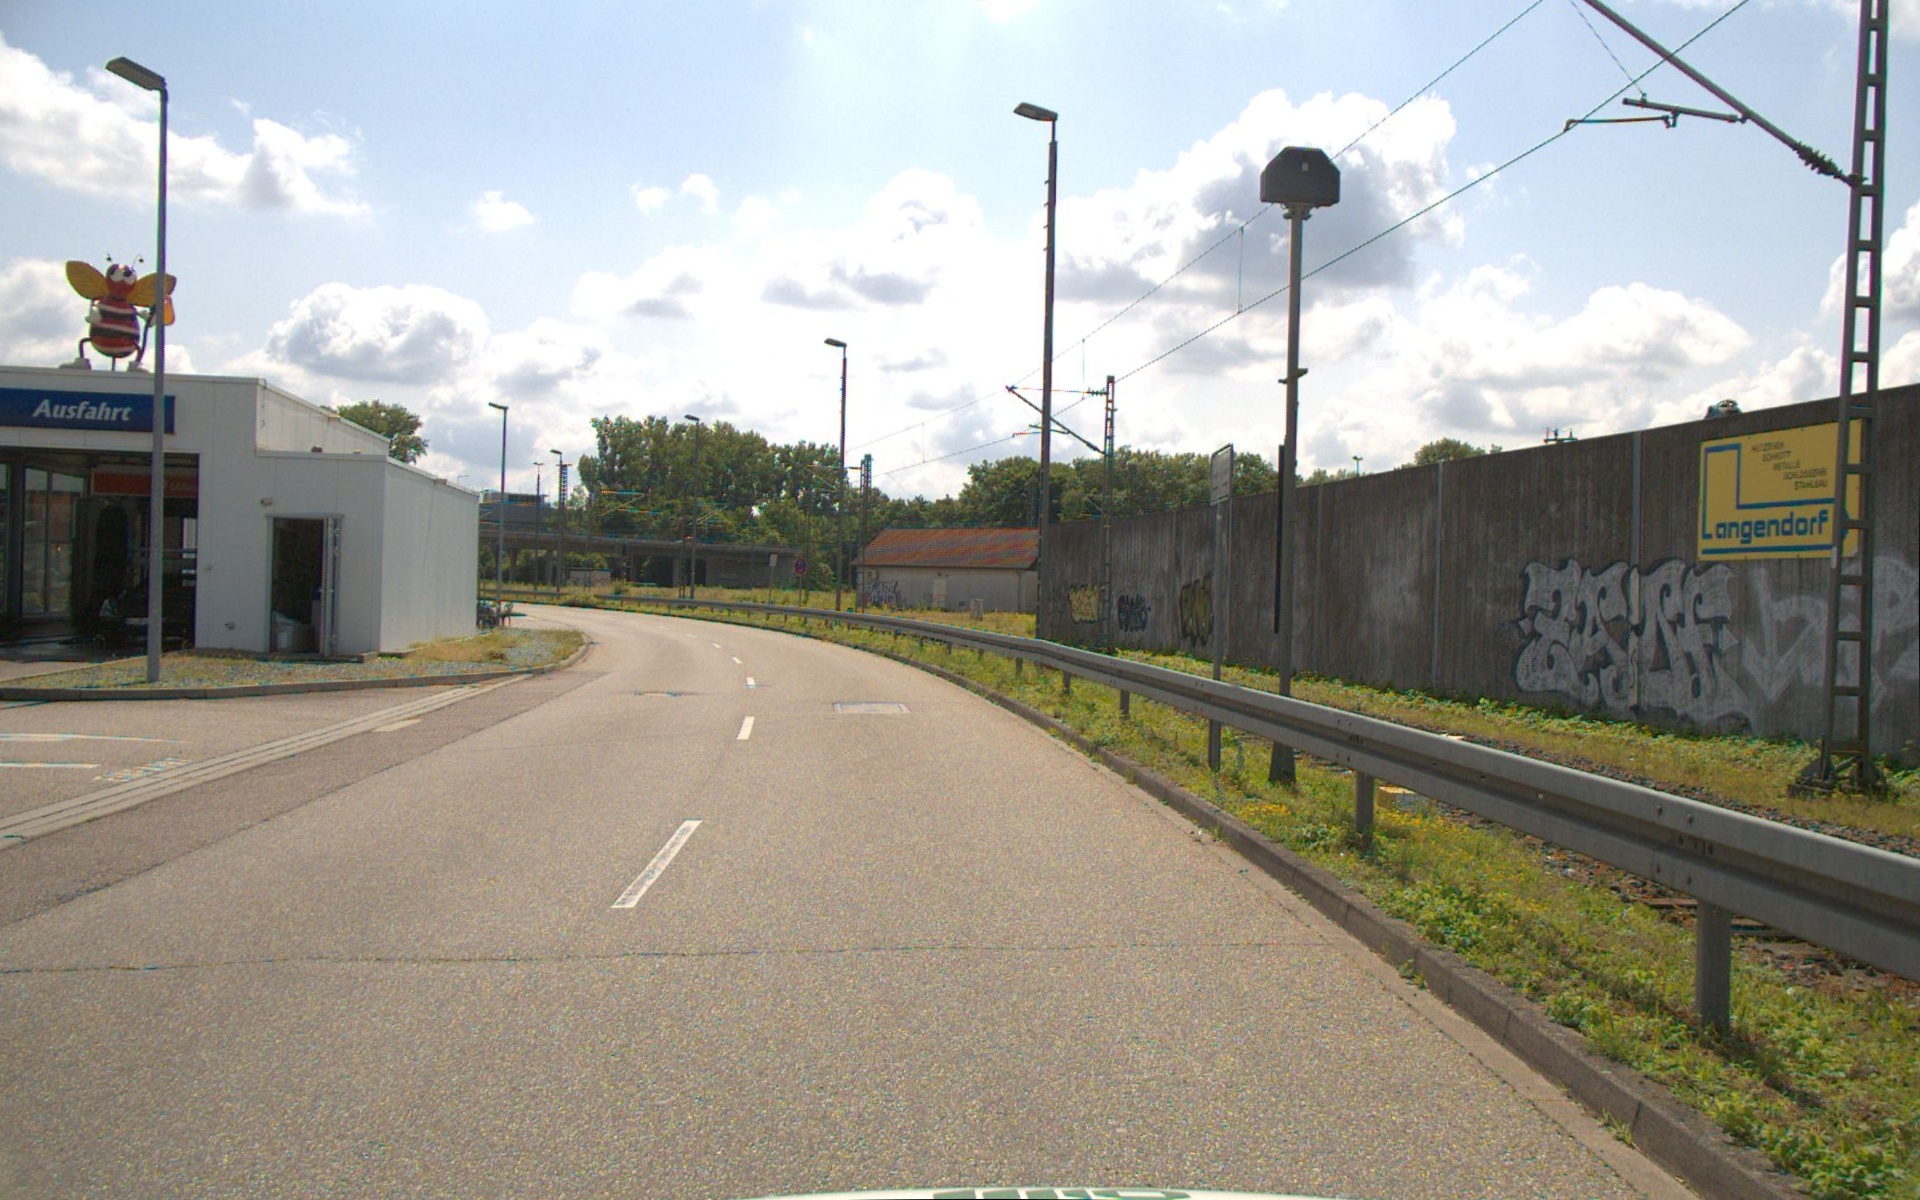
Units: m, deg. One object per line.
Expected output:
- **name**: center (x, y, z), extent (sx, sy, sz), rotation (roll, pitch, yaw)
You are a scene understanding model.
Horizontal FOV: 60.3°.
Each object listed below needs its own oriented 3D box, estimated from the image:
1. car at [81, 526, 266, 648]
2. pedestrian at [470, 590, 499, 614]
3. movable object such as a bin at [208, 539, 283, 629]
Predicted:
- **car**: center (-15.038, -0.232, 31.941), extent (1.957, 2.146, 4.998), rotation (1, 0, -10)
- **pedestrian**: center (-16.205, 0.057, 56.423), extent (0.847, 0.773, 0.816), rotation (2, -2, -11)
- **movable object such as a bin**: center (-18.040, -0.364, 41.816), extent (1.043, 2.190, 2.698), rotation (1, -1, -9)
